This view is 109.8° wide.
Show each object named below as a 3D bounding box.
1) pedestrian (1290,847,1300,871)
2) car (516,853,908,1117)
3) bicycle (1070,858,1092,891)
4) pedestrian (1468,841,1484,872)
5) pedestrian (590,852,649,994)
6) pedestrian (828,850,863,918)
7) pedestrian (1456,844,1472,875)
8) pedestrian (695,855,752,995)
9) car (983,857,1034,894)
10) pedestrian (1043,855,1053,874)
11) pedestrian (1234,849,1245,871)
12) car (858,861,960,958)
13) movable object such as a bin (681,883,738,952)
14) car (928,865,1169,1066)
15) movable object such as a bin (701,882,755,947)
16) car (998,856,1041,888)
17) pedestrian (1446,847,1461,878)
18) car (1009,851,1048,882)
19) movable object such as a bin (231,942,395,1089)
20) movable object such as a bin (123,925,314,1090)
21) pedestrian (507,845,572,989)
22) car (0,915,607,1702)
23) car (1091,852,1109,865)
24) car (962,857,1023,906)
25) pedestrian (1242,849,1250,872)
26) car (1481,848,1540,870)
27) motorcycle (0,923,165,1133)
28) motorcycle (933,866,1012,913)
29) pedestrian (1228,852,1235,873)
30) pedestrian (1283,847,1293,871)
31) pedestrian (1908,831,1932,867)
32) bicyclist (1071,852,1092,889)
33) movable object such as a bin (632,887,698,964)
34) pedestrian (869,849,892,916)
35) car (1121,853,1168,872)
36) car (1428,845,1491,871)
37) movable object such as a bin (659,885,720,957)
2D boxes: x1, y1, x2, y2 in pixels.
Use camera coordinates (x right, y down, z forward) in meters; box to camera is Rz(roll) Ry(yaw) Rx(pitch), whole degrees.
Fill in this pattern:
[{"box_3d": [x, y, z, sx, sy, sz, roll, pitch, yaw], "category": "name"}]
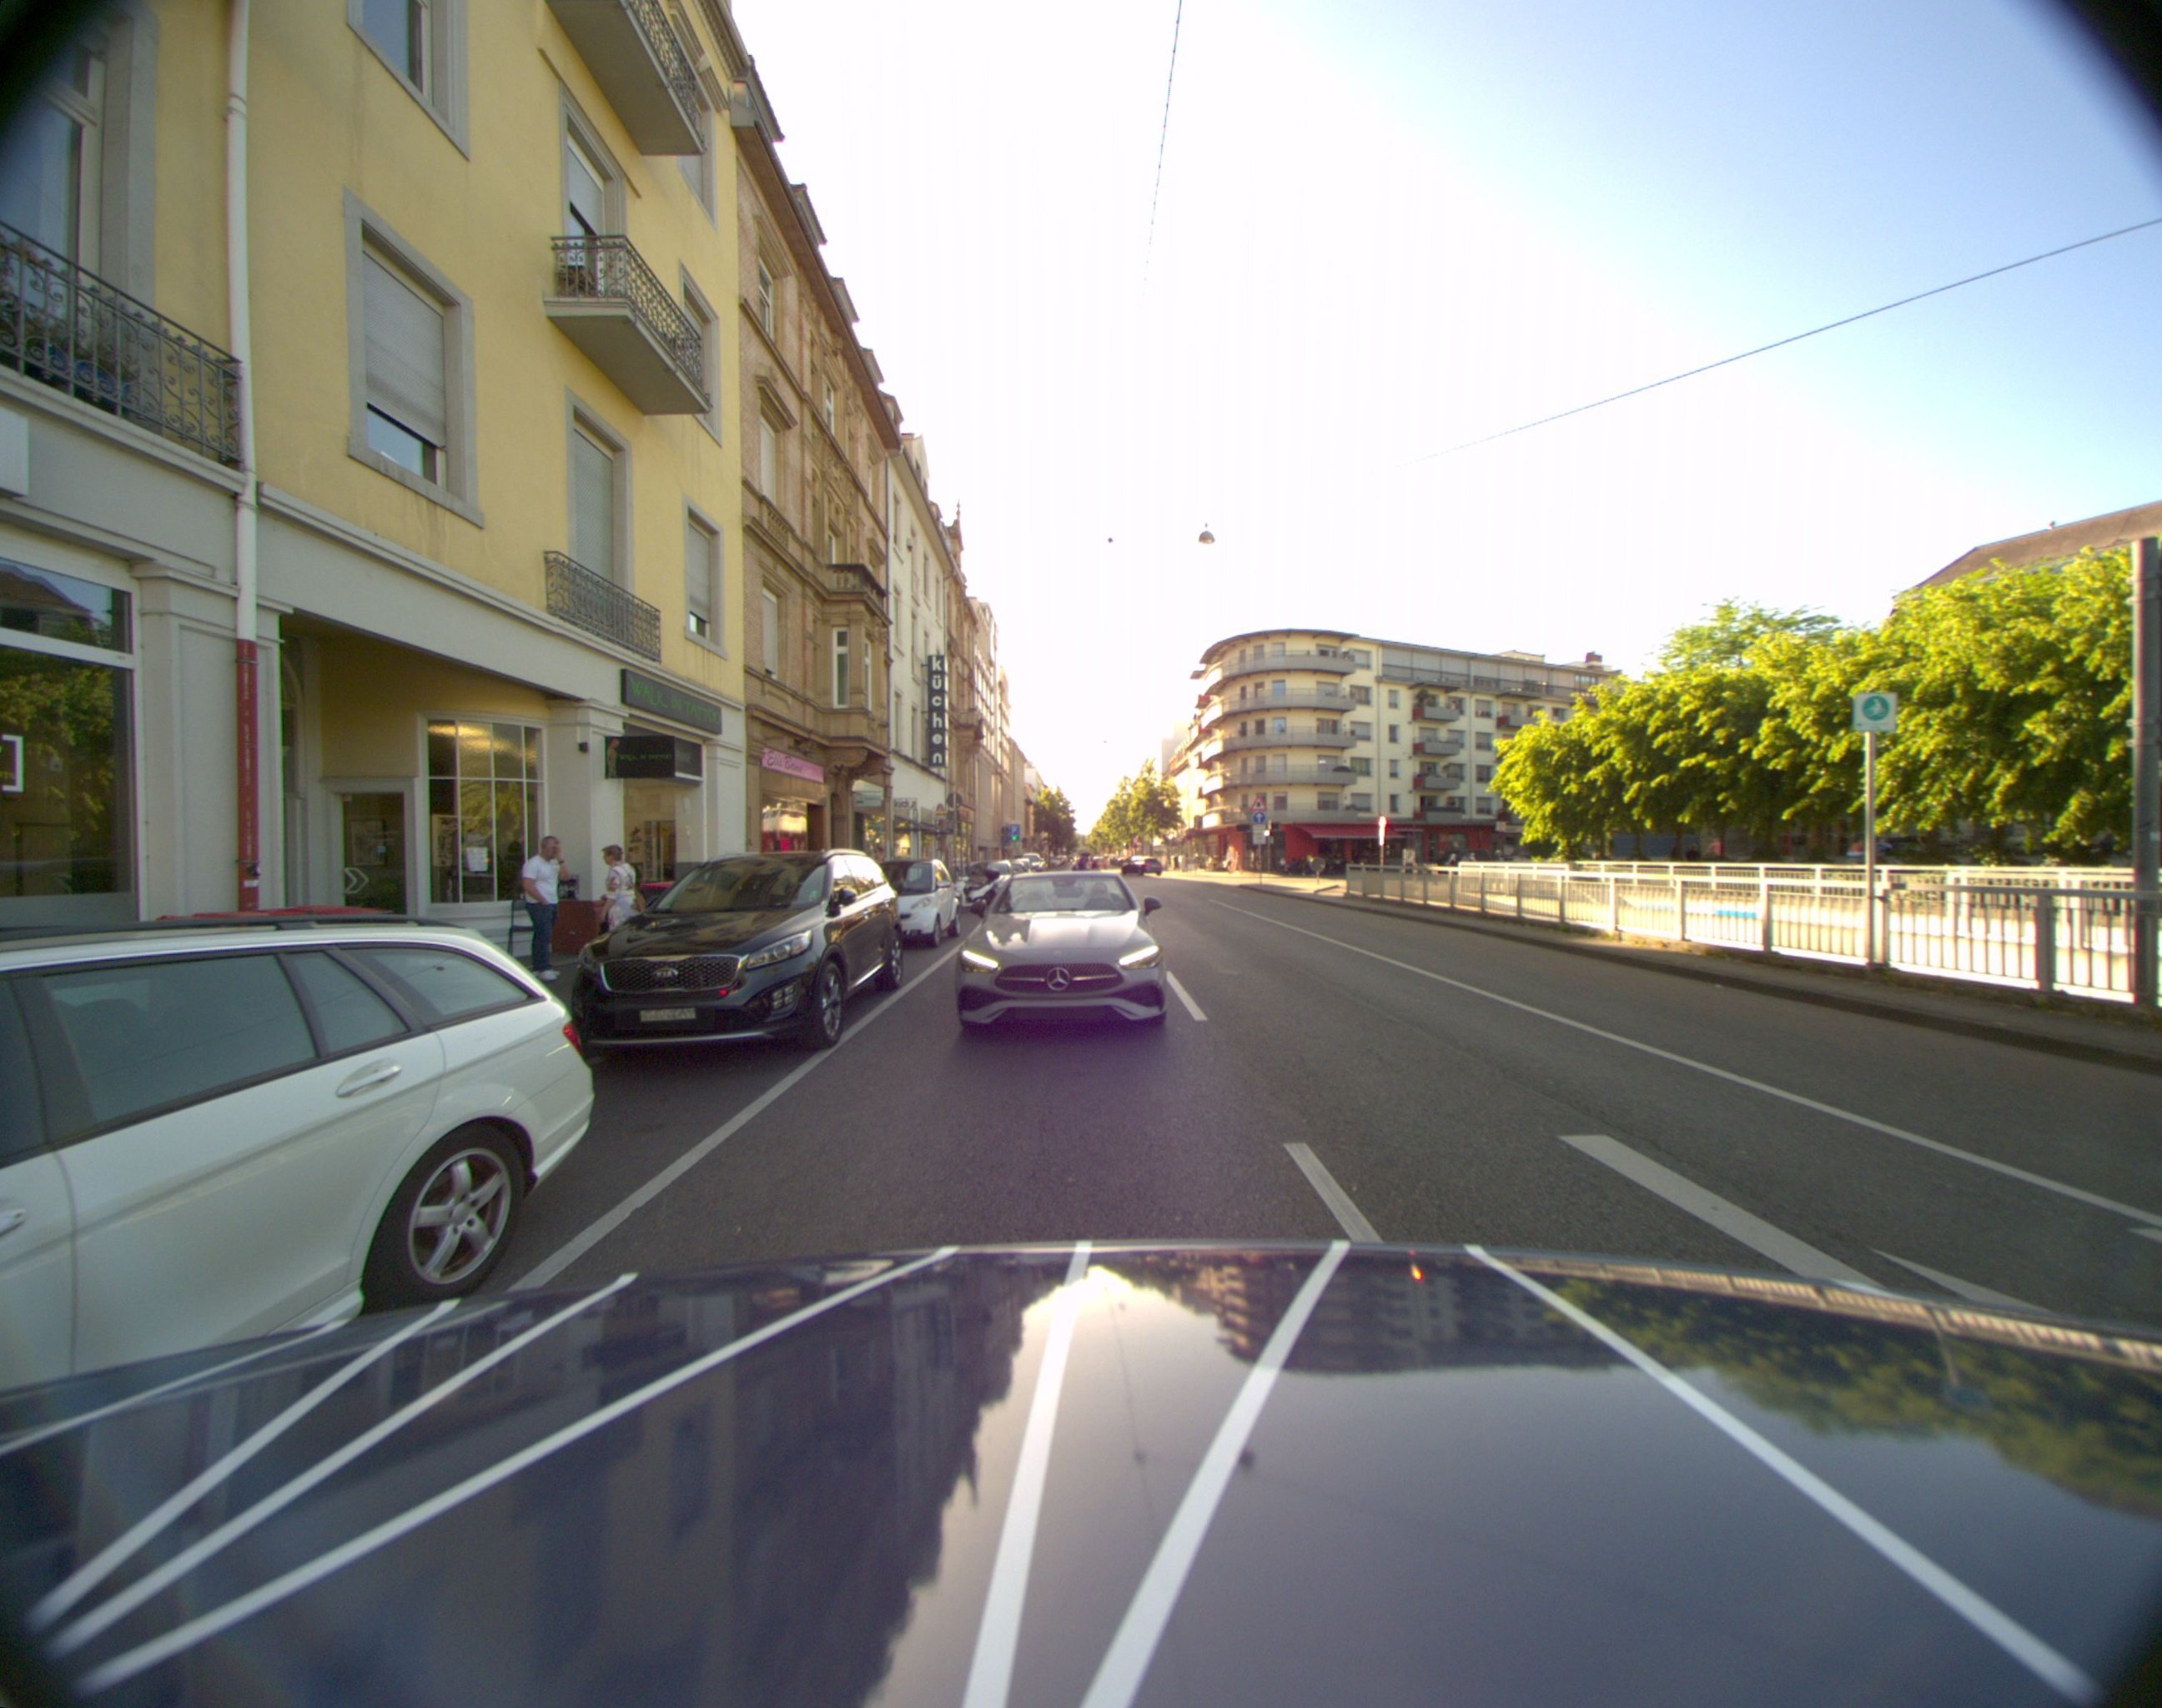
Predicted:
[{"box_3d": [15.520, 0.379, 55.136, 0.575, 1.698, 0.642, -1, 1, 3], "category": "pedestrian"}, {"box_3d": [-3.006, 0.878, 7.438, 1.760, 1.726, 4.571, -1, 0, -3], "category": "car"}, {"box_3d": [0.024, 0.806, 29.996, 0.798, 1.226, 1.773, -1, 0, 1], "category": "bicycle"}, {"box_3d": [22.797, 0.137, 43.852, 0.602, 1.782, 0.581, -3, 1, -40], "category": "pedestrian"}, {"box_3d": [-5.568, 0.805, 9.173, 0.594, 1.651, 0.450, 0, 1, -31], "category": "pedestrian"}, {"box_3d": [-5.760, 0.727, 18.603, 0.617, 1.623, 0.463, -1, 1, 20], "category": "pedestrian"}, {"box_3d": [21.995, 0.316, 43.636, 0.602, 1.782, 0.581, -3, 2, -45], "category": "pedestrian"}, {"box_3d": [-4.614, 0.902, 9.832, 0.434, 1.752, 0.481, -2, 1, 1], "category": "pedestrian"}, {"box_3d": [-3.052, 0.880, 32.656, 1.737, 1.409, 3.802, -1, 0, 0], "category": "car"}, {"box_3d": [-2.884, 0.885, 66.238, 0.774, 1.606, 0.696, -2, 1, -3], "category": "pedestrian"}, {"box_3d": [11.957, 0.429, 57.232, 0.570, 1.612, 0.793, -2, 1, -3], "category": "pedestrian"}, {"box_3d": [-3.039, 0.921, 13.862, 1.275, 1.509, 2.794, -1, 0, -2], "category": "car"}, {"box_3d": [-6.090, 1.027, 12.470, 0.606, 1.060, 0.619, 2, 1, 1], "category": "movable object such as a bin"}, {"box_3d": [-0.241, 0.904, 8.118, 1.848, 1.440, 4.373, -1, 0, 0], "category": "car"}, {"box_3d": [-6.078, 1.033, 13.104, 0.606, 1.060, 0.619, 2, 1, 1], "category": "movable object such as a bin"}, {"box_3d": [-2.966, 0.849, 37.104, 1.737, 1.409, 3.802, -1, 0, 0], "category": "car"}, {"box_3d": [21.273, 0.483, 43.357, 0.602, 1.782, 0.581, -3, 2, -45], "category": "pedestrian"}, {"box_3d": [-2.960, 0.677, 43.733, 1.895, 1.680, 4.049, -1, 0, 0], "category": "car"}, {"box_3d": [-6.127, 1.264, 6.092, 0.669, 1.019, 0.619, 2, 1, 3], "category": "movable object such as a bin"}, {"box_3d": [-6.158, 1.065, 5.457, 0.661, 1.035, 0.619, 2, 1, 3], "category": "movable object such as a bin"}, {"box_3d": [-6.438, 0.724, 9.044, 0.337, 1.651, 0.525, 1, 1, 23], "category": "pedestrian"}, {"box_3d": [-3.096, 1.036, 1.295, 1.743, 1.438, 4.463, -1, 0, 0], "category": "car"}, {"box_3d": [2.116, 0.532, 85.730, 1.895, 1.388, 4.256, -1, 0, 1], "category": "car"}, {"box_3d": [-3.033, 0.892, 26.690, 1.737, 1.509, 4.164, -1, 0, -2], "category": "car"}, {"box_3d": [12.455, 0.492, 57.269, 0.442, 1.663, 0.516, -2, 1, -5], "category": "pedestrian"}, {"box_3d": [34.314, 0.356, 60.709, 4.300, 1.611, 1.952, -2, 1, -23], "category": "car"}, {"box_3d": [-6.229, 0.995, 3.934, 0.551, 1.085, 2.009, 0, 0, -1], "category": "motorcycle"}, {"box_3d": [-3.191, 1.033, 22.560, 2.178, 1.272, 0.866, -2, 1, -42], "category": "motorcycle"}, {"box_3d": [11.354, 0.648, 57.192, 0.376, 1.521, 0.516, -2, 1, -3], "category": "pedestrian"}, {"box_3d": [15.243, 0.373, 55.861, 0.575, 1.698, 0.642, -1, 1, 3], "category": "pedestrian"}, {"box_3d": [41.660, -0.243, 37.726, 0.602, 1.782, 0.581, -2, 1, -20], "category": "pedestrian"}, {"box_3d": [0.022, 0.646, 29.963, 0.798, 1.426, 1.008, -1, 1, 1], "category": "bicyclist"}, {"box_3d": [-6.127, 1.032, 11.209, 0.606, 1.060, 0.619, 2, 1, 1], "category": "movable object such as a bin"}, {"box_3d": [-4.916, 0.686, 18.643, 0.414, 1.623, 0.515, -2, 1, -3], "category": "pedestrian"}, {"box_3d": [4.754, 0.641, 57.612, 1.810, 1.388, 3.918, -2, 0, -26], "category": "car"}, {"box_3d": [29.092, 0.286, 58.369, 4.432, 1.901, 1.951, -2, 1, -23], "category": "car"}, {"box_3d": [-6.103, 1.034, 11.856, 0.606, 1.060, 0.619, 2, 1, 1], "category": "movable object such as a bin"}]
